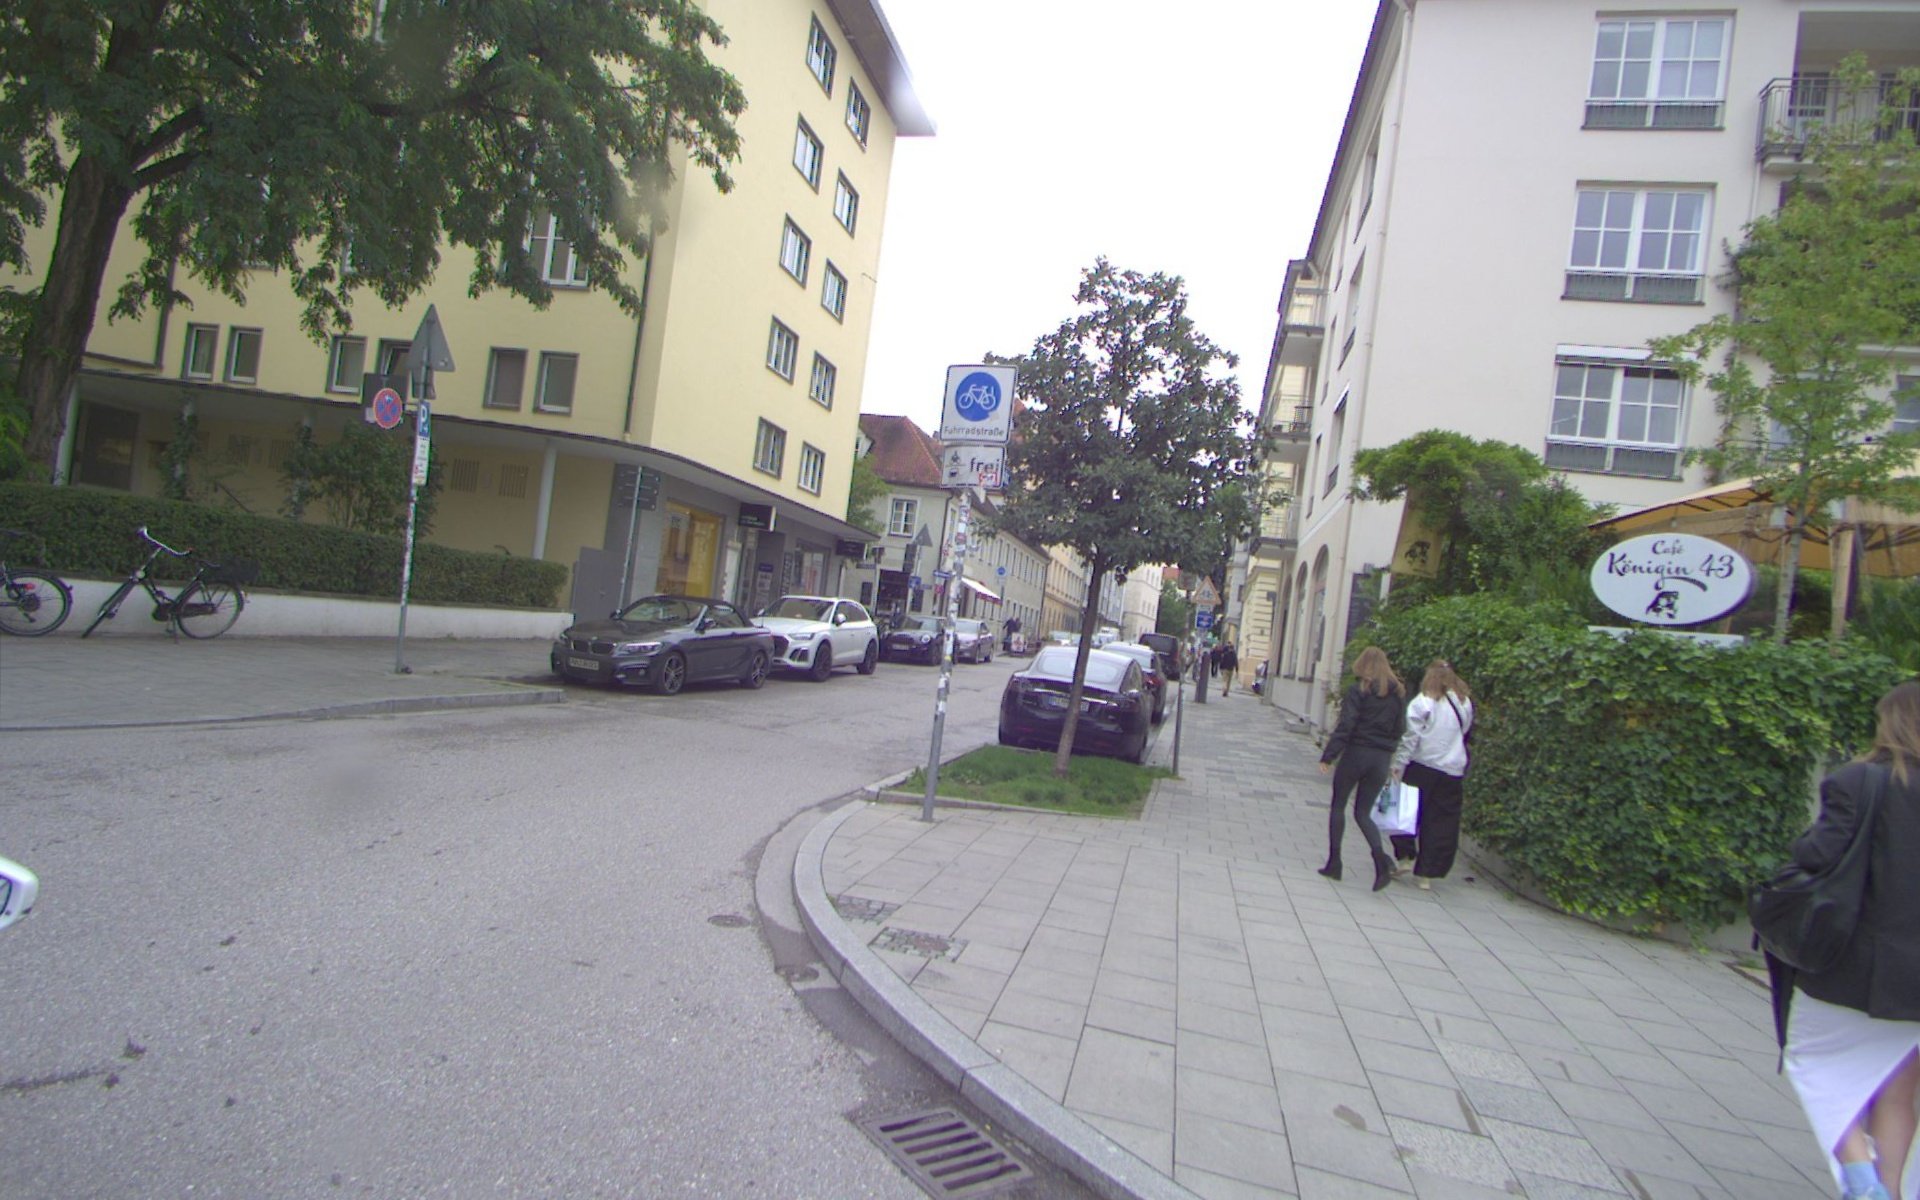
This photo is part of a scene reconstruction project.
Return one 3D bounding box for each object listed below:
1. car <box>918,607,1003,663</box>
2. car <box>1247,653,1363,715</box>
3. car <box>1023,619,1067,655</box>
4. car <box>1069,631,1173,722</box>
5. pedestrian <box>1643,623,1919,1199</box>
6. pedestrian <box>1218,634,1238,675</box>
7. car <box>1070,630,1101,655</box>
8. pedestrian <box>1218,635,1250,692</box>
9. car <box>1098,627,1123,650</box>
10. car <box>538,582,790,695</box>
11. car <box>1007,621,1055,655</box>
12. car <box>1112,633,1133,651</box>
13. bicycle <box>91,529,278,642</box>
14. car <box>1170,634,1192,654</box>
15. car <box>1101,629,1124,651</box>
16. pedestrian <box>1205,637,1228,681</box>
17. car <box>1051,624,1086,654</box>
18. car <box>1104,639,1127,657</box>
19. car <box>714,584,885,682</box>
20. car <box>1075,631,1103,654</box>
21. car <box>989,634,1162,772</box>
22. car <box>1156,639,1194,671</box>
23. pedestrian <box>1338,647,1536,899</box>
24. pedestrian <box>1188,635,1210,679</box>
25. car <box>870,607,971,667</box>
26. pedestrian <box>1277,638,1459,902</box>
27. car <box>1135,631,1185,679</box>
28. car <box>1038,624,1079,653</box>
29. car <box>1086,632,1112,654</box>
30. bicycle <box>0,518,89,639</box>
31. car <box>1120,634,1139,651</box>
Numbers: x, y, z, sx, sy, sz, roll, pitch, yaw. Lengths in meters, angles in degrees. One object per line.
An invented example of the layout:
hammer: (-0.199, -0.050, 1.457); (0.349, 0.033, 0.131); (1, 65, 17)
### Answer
car: (0.081, 1.219, 33.917); (1.790, 1.548, 4.003); (7, -1, 14)
car: (11.521, 2.782, 33.774); (3.416, 1.548, 1.577); (7, 0, 15)
car: (4.735, 2.058, 55.507); (1.756, 1.682, 4.003); (7, -1, 13)
car: (3.567, 1.601, 21.725); (1.691, 1.548, 4.003); (7, -1, 15)
pedestrian: (2.660, 0.969, 3.000); (0.654, 1.719, 0.543); (7, 2, 2)
pedestrian: (13.906, 2.836, 52.224); (0.742, 2.038, 0.832); (7, 0, 14)
car: (8.686, 2.886, 69.407); (1.661, 1.426, 4.002); (8, 0, 11)
pedestrian: (8.890, 2.047, 32.716); (0.773, 1.735, 0.832); (7, 0, 14)
car: (12.686, 3.252, 84.628); (1.756, 1.682, 4.004); (7, -1, 10)
car: (-4.350, 0.627, 15.590); (1.631, 1.383, 4.337); (4, -2, 15)
car: (3.636, 1.943, 50.711); (1.709, 1.439, 4.003); (7, -1, 12)
car: (17.010, 4.333, 105.151); (1.741, 1.615, 4.001); (8, 0, 13)
bicycle: (-8.785, -0.121, 11.493); (0.451, 1.144, 1.689); (7, -1, 13)
car: (19.437, 3.822, 88.514); (1.671, 1.526, 4.002); (7, 0, 12)
car: (13.587, 3.557, 89.490); (1.756, 1.682, 4.004); (7, -1, 10)
pedestrian: (12.602, 2.888, 49.440); (0.773, 2.038, 0.832); (7, 0, 9)
car: (6.993, 2.502, 64.372); (1.756, 1.682, 4.004); (7, -1, 10)
car: (15.380, 4.687, 99.420); (1.671, 1.526, 4.002); (7, 0, 14)
car: (-3.149, 0.659, 20.716); (1.823, 1.683, 4.321); (4, 0, 14)
car: (9.456, 3.079, 73.759); (1.661, 1.426, 3.504); (8, 0, 11)
car: (1.847, 1.363, 14.607); (1.932, 1.415, 4.509); (7, -1, 12)
car: (12.609, 3.182, 58.805); (1.795, 1.536, 4.242); (7, 0, 15)
pedestrian: (3.400, 1.208, 7.237); (0.796, 1.626, 0.827); (6, 0, -14)
pedestrian: (11.789, 2.792, 49.621); (0.773, 2.038, 0.832); (7, 0, 9)
car: (-1.079, 1.121, 29.828); (1.792, 1.417, 4.003); (7, -1, 14)
pedestrian: (2.795, 1.133, 6.971); (0.669, 1.649, 0.828); (6, 0, -12)
car: (8.885, 2.415, 44.445); (1.785, 1.796, 4.003); (7, -1, 14)
car: (5.901, 2.303, 59.779); (1.756, 1.431, 4.003); (7, -1, 13)
car: (10.861, 3.364, 78.411); (1.661, 1.426, 3.504); (8, 0, 11)
bicycle: (-9.763, -0.285, 9.488); (0.630, 1.129, 2.172); (7, -1, 30)
car: (19.599, 4.898, 115.999); (1.741, 1.615, 4.001); (8, 0, 13)
